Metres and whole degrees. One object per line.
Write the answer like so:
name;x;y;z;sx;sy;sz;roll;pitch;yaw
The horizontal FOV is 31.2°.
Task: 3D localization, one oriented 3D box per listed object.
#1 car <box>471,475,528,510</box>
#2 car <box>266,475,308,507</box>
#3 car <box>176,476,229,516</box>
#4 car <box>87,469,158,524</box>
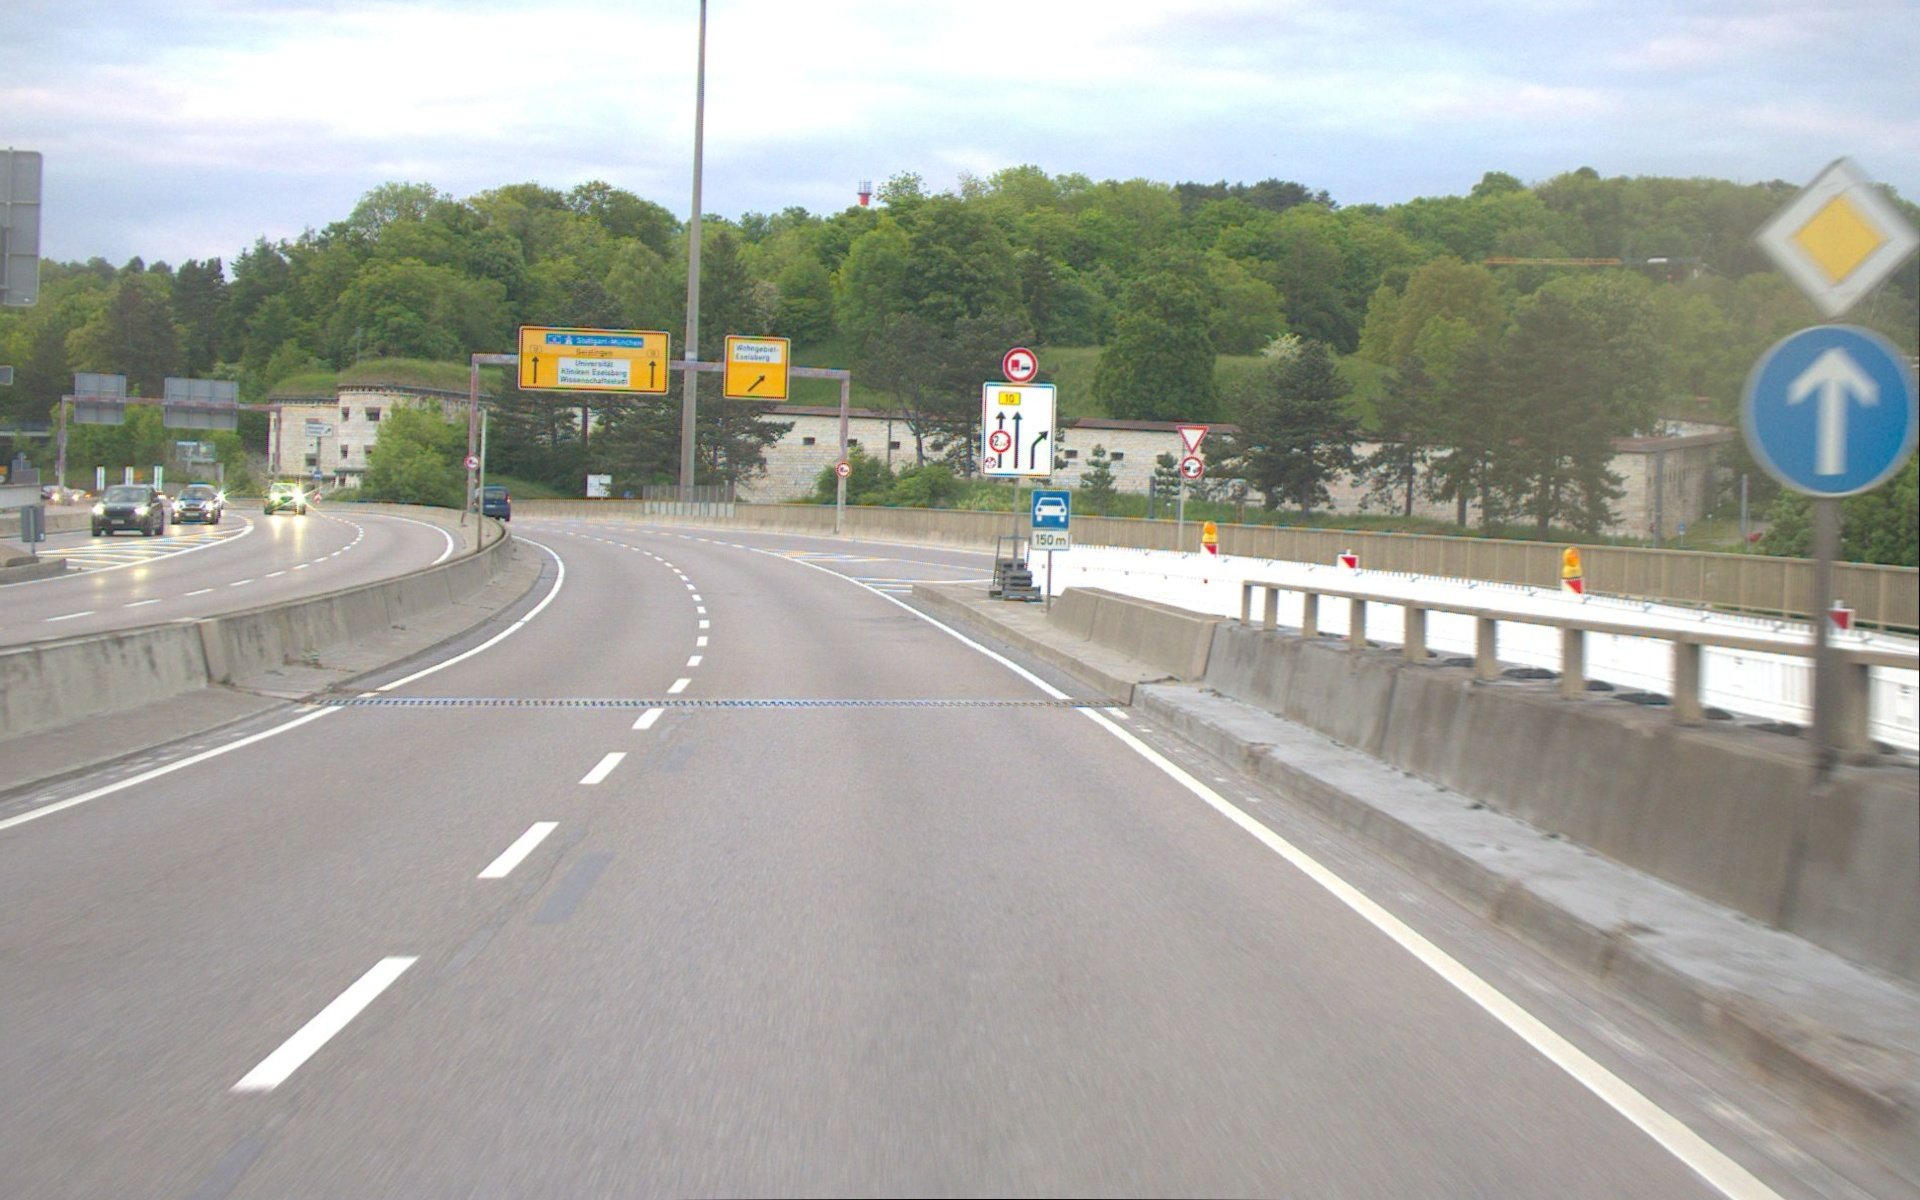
car;-24.740;-5.782;184.591;2.304;1.757;4.264;3;1;-16
car;-32.798;-5.322;167.552;1.710;1.489;4.082;1;2;-15
car;-29.569;-4.058;134.279;1.795;1.481;3.843;1;2;-10
car;-26.741;-3.313;109.862;1.636;1.711;4.001;1;2;-6
